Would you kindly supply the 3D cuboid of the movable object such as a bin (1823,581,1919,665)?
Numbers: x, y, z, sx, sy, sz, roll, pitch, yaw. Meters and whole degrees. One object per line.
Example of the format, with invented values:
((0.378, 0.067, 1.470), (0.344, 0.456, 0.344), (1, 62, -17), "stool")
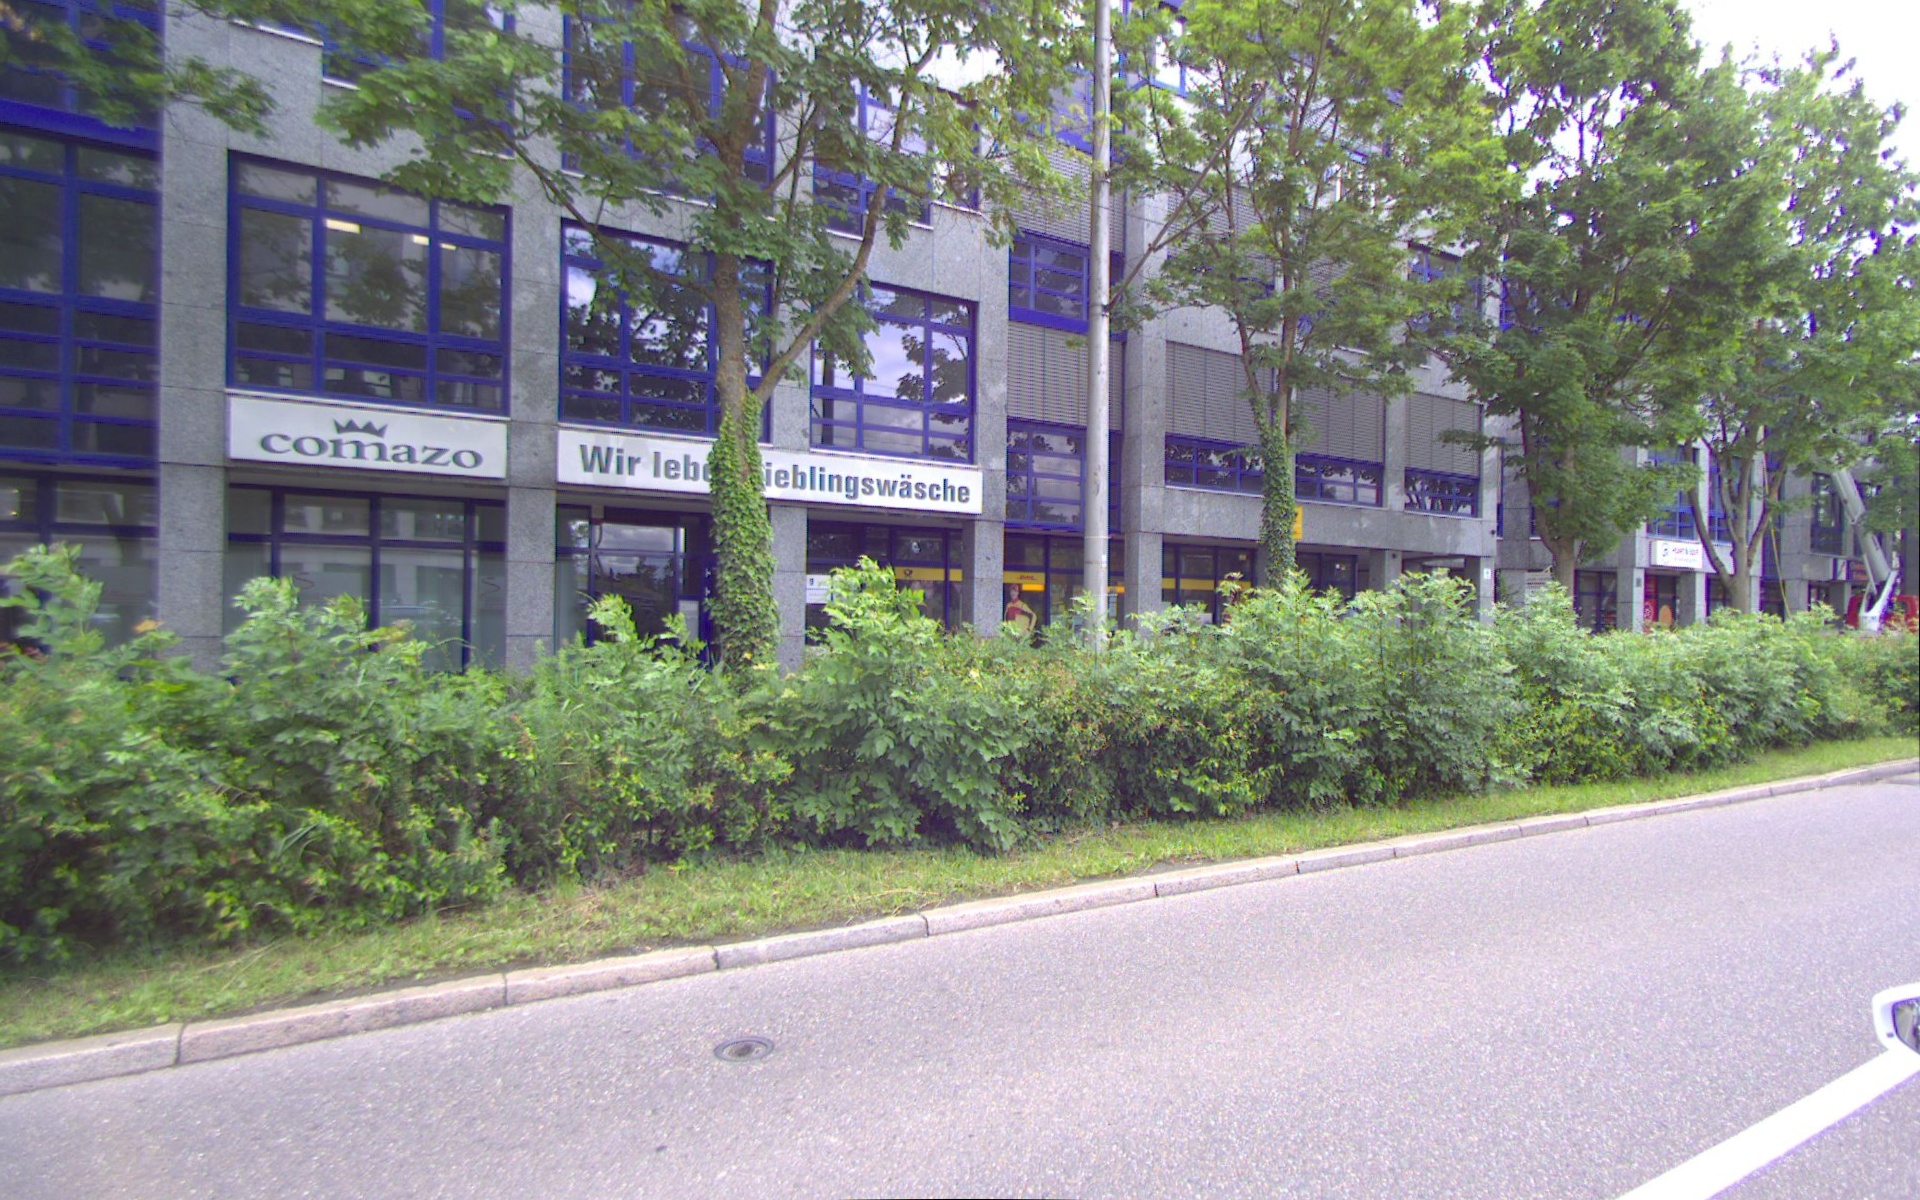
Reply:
((29.830, 0.717, 32.343), (4.080, 2.565, 1.895), (1, 1, -31), "movable object such as a bin")

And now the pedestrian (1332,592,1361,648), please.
((9.533, 0.479, 24.753), (0.552, 1.352, 0.362), (0, 3, -35), "pedestrian")
